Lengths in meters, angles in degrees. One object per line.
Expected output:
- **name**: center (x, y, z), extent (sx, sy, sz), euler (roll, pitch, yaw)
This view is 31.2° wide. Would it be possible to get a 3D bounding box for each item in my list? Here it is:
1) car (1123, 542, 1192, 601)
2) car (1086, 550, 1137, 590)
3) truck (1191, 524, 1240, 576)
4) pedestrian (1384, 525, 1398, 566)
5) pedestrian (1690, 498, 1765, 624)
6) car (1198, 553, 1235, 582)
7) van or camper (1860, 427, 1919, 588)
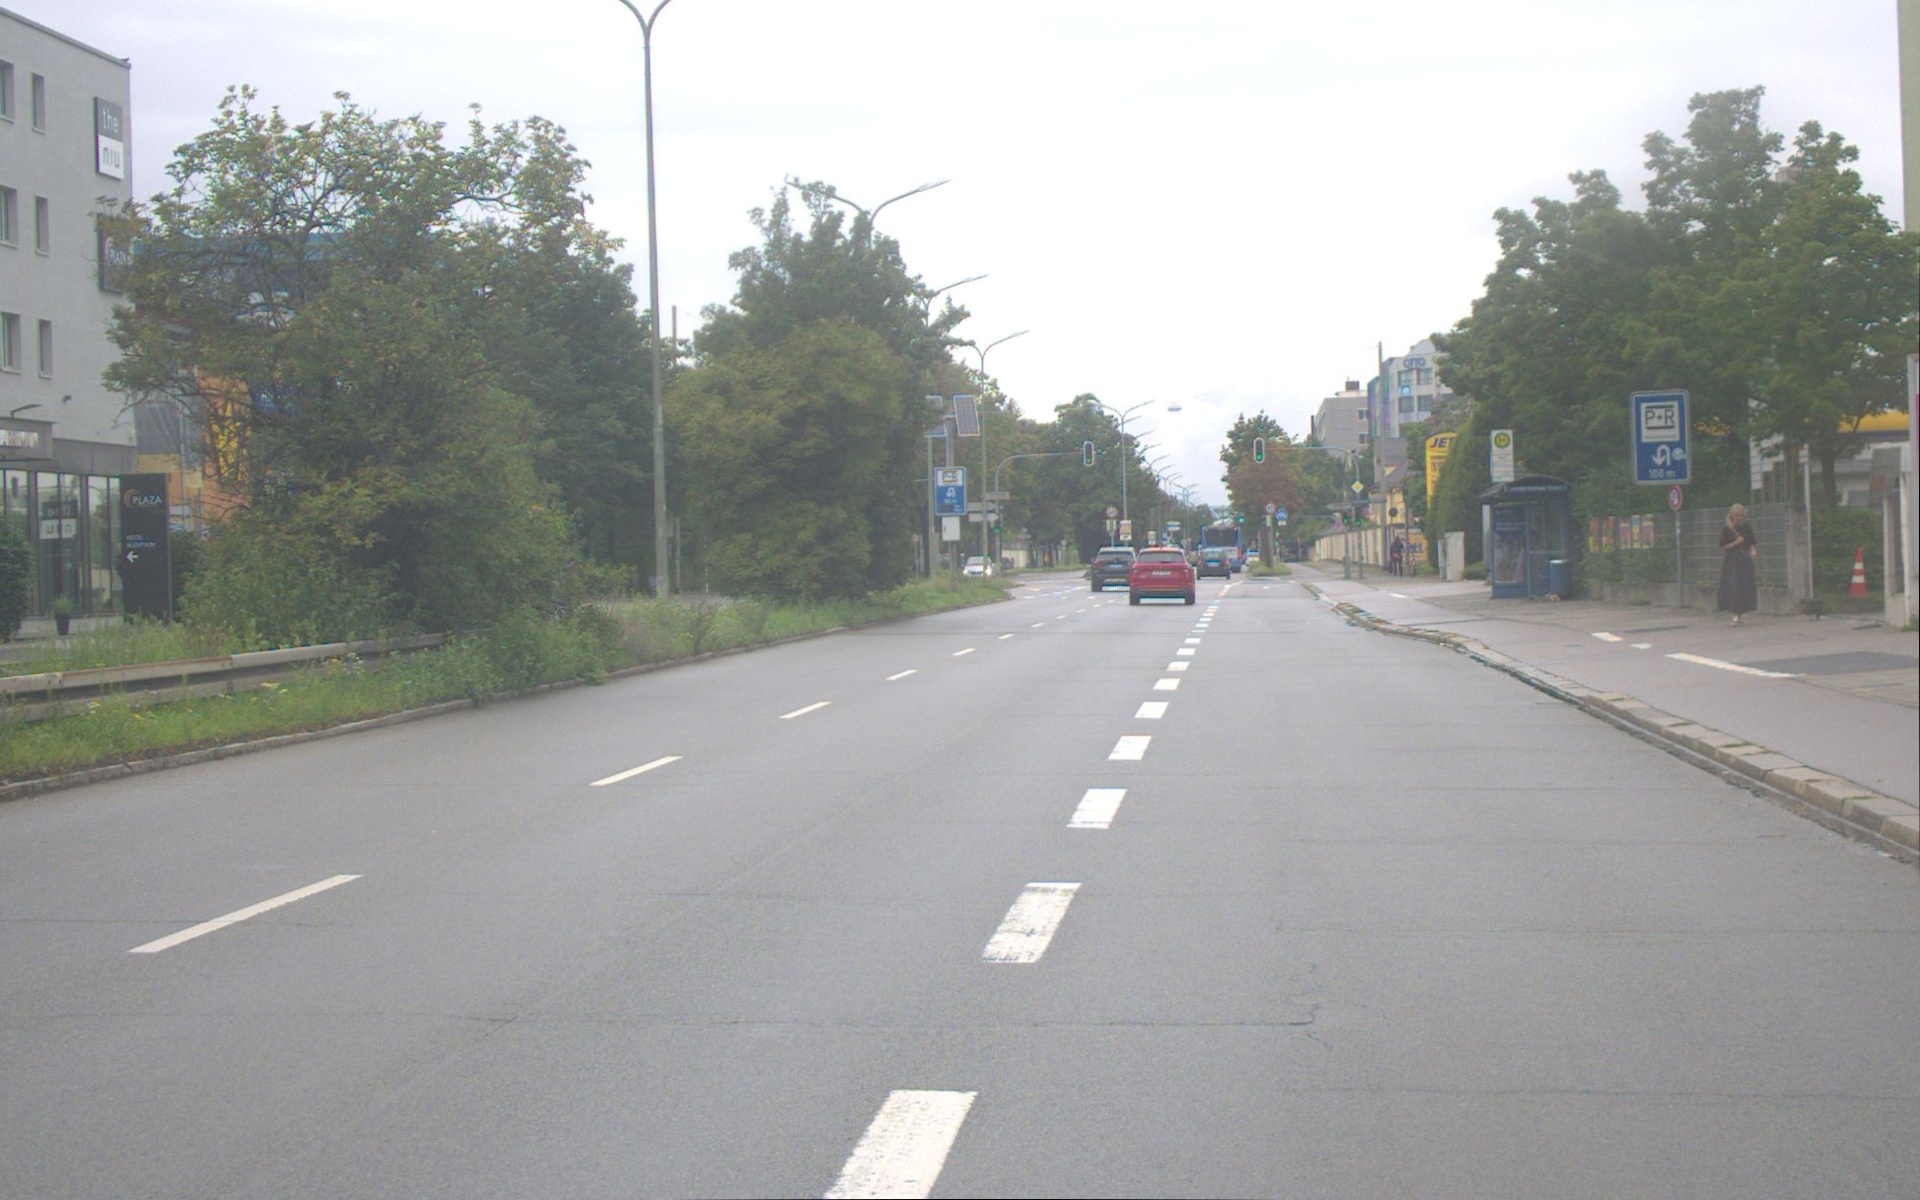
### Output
- **car**: center (5.555, -0.800, 96.895), extent (1.862, 1.612, 4.000), euler (-1, 0, 3)
- **car**: center (5.705, -1.123, 129.122), extent (1.803, 1.428, 4.000), euler (-2, 1, 3)
- **truck**: center (16.768, -3.269, 225.679), extent (2.969, 3.274, 7.915), euler (-1, 1, 3)
- **pedestrian**: center (17.038, -2.159, 135.889), extent (0.483, 1.630, 0.590), euler (-1, 1, 4)
- **pedestrian**: center (10.915, -0.555, 48.909), extent (0.758, 1.722, 0.895), euler (-5, 1, 2)
- **car**: center (13.340, -1.686, 179.037), extent (1.803, 1.428, 4.000), euler (-1, 1, 3)
- **van or camper**: center (16.249, -1.516, 56.645), extent (2.125, 2.488, 7.385), euler (-1, 1, 10)
